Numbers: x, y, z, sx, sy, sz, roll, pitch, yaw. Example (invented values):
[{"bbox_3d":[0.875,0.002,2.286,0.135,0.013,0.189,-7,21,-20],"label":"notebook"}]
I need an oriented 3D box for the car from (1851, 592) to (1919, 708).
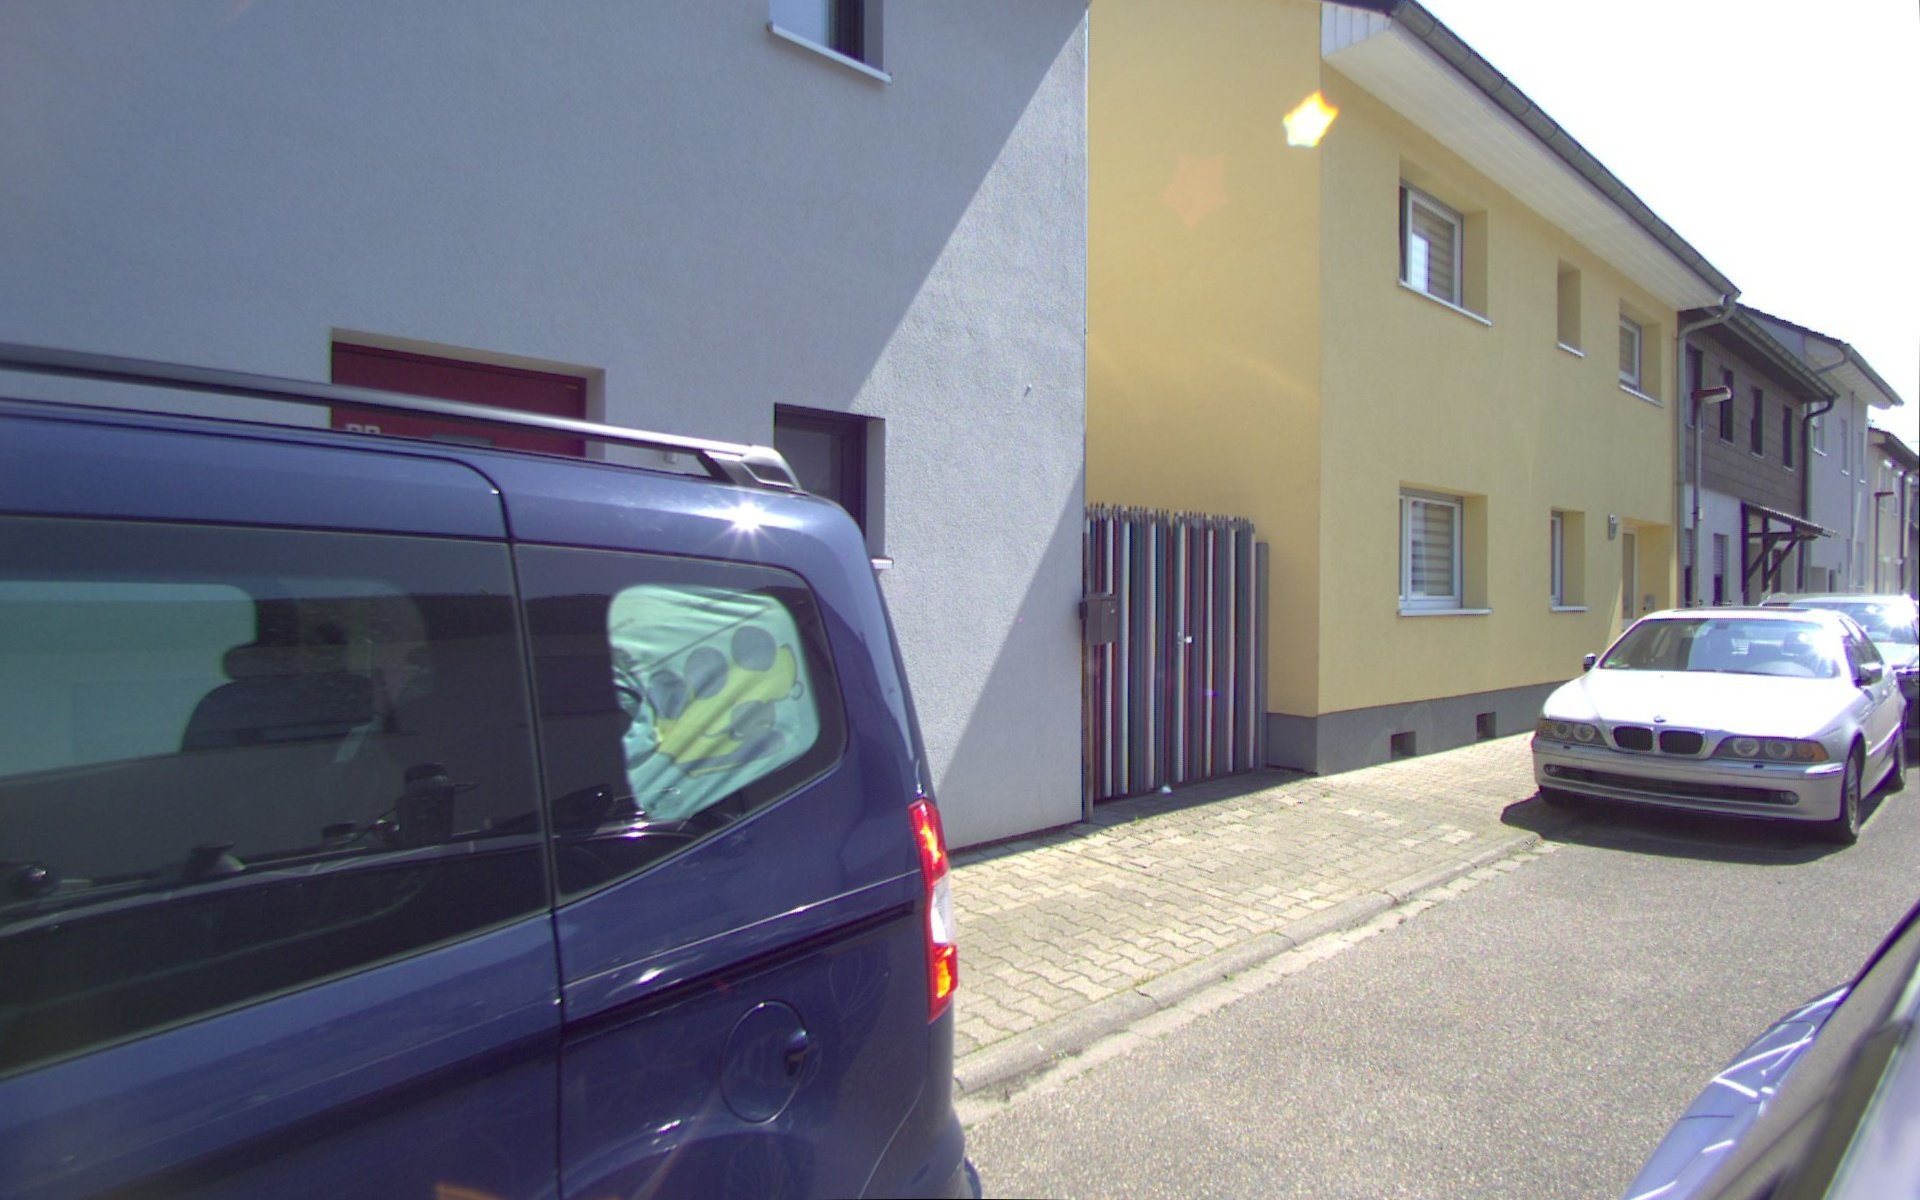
[{"bbox_3d":[14.089,0.656,14.671,3.340,1.547,1.401,-1,0,-43],"label":"car"}]

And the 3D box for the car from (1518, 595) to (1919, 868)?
[{"bbox_3d":[5.869,0.714,7.576,4.175,1.432,1.665,-1,2,-42],"label":"car"}]

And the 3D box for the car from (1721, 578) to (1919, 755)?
[{"bbox_3d":[9.681,0.583,10.956,3.896,1.604,1.681,-1,0,-43],"label":"car"}]

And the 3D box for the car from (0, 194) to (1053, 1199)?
[{"bbox_3d":[-1.935,0.596,0.823,4.128,1.800,1.698,-1,0,-43],"label":"car"}]
